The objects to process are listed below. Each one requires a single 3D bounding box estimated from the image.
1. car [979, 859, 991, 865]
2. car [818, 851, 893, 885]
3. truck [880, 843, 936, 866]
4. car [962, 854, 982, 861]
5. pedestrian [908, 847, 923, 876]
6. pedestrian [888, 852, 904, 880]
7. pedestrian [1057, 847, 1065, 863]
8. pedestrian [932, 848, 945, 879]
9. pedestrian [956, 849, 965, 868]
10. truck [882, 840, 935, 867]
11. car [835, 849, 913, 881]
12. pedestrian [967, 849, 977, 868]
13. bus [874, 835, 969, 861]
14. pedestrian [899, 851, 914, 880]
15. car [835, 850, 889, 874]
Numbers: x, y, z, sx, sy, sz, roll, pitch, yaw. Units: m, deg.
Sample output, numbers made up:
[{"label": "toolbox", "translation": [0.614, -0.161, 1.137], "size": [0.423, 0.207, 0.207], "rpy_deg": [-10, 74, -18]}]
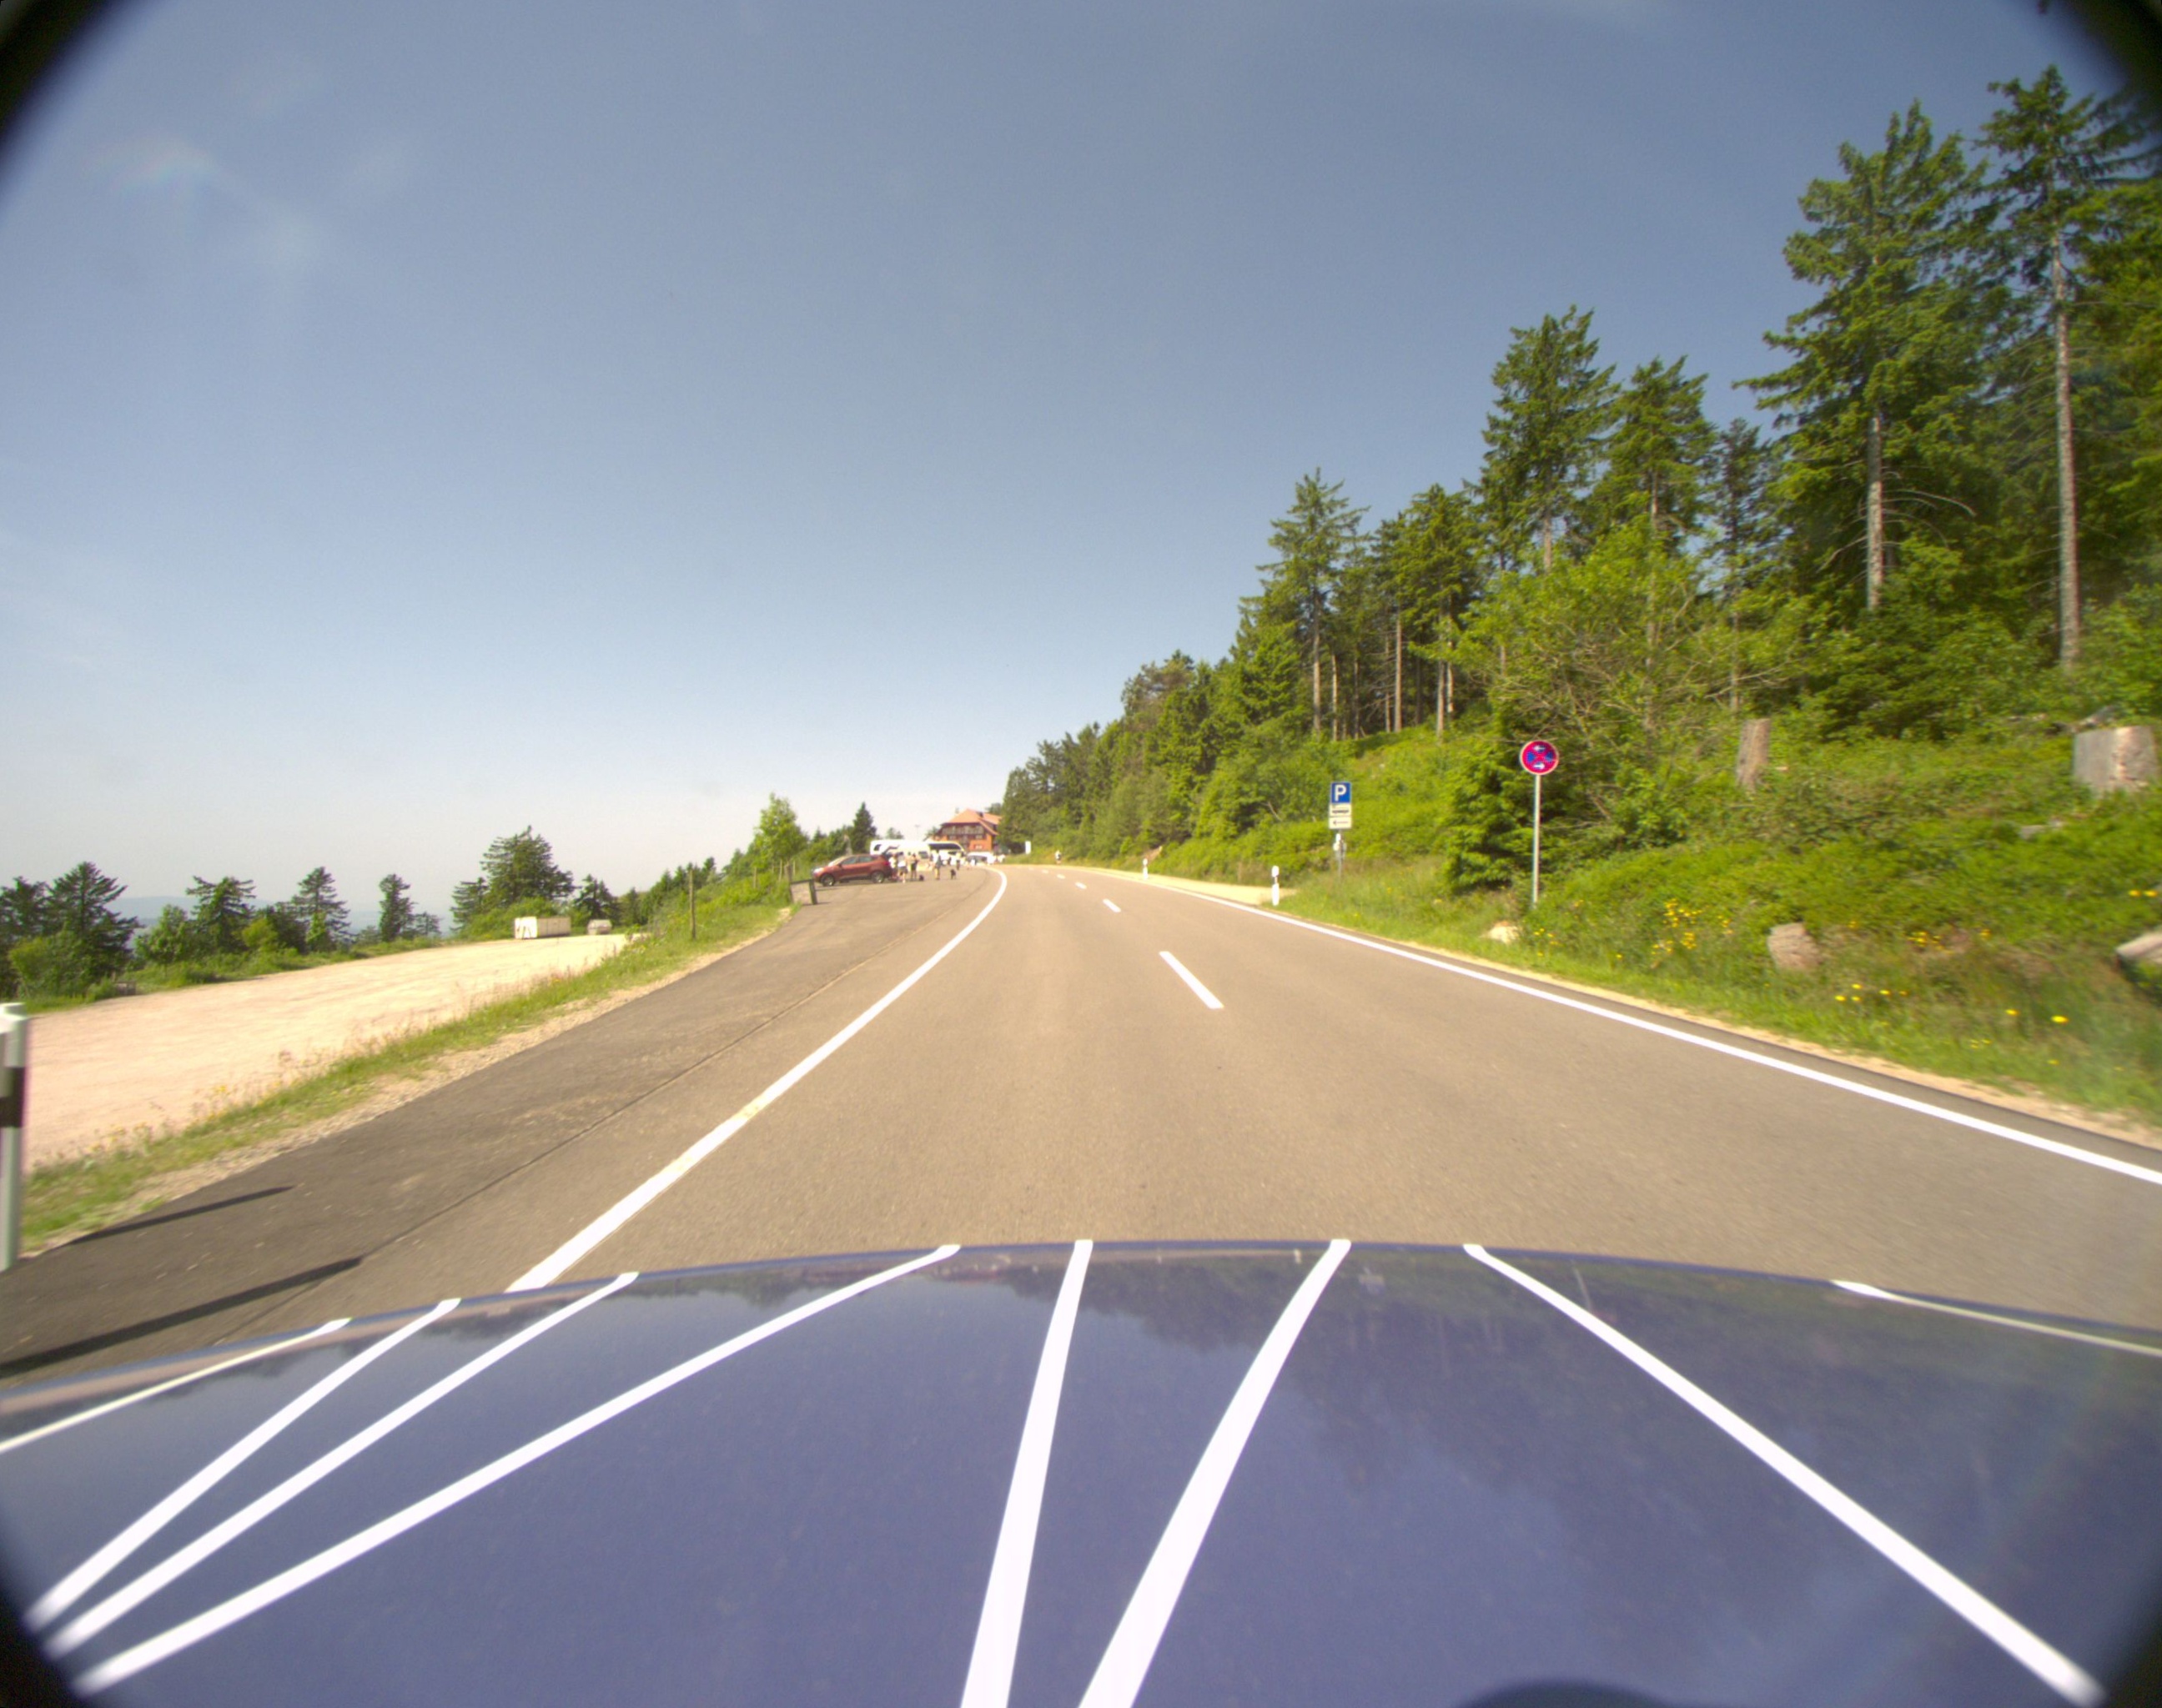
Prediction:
[{"label": "car", "translation": [-23.554, 2.025, 186.572], "size": [1.711, 1.543, 3.139], "rpy_deg": [0, 0, 19]}, {"label": "car", "translation": [-12.420, 0.731, 42.009], "size": [3.831, 1.651, 1.650], "rpy_deg": [-3, 1, -14]}, {"label": "truck", "translation": [-20.017, 0.041, 88.110], "size": [6.282, 2.575, 2.338], "rpy_deg": [0, 0, -10]}, {"label": "car", "translation": [-24.108, 0.738, 168.196], "size": [3.955, 1.578, 1.792], "rpy_deg": [0, -1, 16]}, {"label": "pedestrian", "translation": [-9.555, 0.439, 43.960], "size": [0.718, 1.682, 0.618], "rpy_deg": [-1, 1, -3]}, {"label": "pedestrian", "translation": [-10.673, 0.700, 43.785], "size": [0.618, 1.578, 0.736], "rpy_deg": [0, -1, 9]}, {"label": "pedestrian", "translation": [-2.275, 0.104, 86.621], "size": [0.685, 1.736, 0.824], "rpy_deg": [-1, 1, -17]}, {"label": "pedestrian", "translation": [-8.203, 0.563, 43.879], "size": [0.618, 1.765, 0.723], "rpy_deg": [-1, 1, -3]}, {"label": "pedestrian", "translation": [-11.154, 0.412, 70.355], "size": [0.666, 1.731, 0.894], "rpy_deg": [0, 0, 4]}, {"label": "truck", "translation": [-20.716, -0.014, 91.344], "size": [6.085, 3.177, 2.529], "rpy_deg": [0, 0, -13]}, {"label": "car", "translation": [-12.471, 0.632, 46.050], "size": [4.277, 1.784, 1.890], "rpy_deg": [-1, 2, -7]}, {"label": "pedestrian", "translation": [-10.080, 0.379, 70.568], "size": [0.755, 1.750, 0.775], "rpy_deg": [0, 0, 4]}, {"label": "bus", "translation": [-22.269, -0.804, 106.534], "size": [12.890, 3.556, 2.836], "rpy_deg": [0, 0, -10]}, {"label": "pedestrian", "translation": [-9.780, 0.640, 42.606], "size": [0.654, 1.650, 0.688], "rpy_deg": [0, -1, 3]}, {"label": "car", "translation": [-17.209, 0.635, 59.854], "size": [4.001, 1.637, 1.598], "rpy_deg": [-3, 1, -14]}]
